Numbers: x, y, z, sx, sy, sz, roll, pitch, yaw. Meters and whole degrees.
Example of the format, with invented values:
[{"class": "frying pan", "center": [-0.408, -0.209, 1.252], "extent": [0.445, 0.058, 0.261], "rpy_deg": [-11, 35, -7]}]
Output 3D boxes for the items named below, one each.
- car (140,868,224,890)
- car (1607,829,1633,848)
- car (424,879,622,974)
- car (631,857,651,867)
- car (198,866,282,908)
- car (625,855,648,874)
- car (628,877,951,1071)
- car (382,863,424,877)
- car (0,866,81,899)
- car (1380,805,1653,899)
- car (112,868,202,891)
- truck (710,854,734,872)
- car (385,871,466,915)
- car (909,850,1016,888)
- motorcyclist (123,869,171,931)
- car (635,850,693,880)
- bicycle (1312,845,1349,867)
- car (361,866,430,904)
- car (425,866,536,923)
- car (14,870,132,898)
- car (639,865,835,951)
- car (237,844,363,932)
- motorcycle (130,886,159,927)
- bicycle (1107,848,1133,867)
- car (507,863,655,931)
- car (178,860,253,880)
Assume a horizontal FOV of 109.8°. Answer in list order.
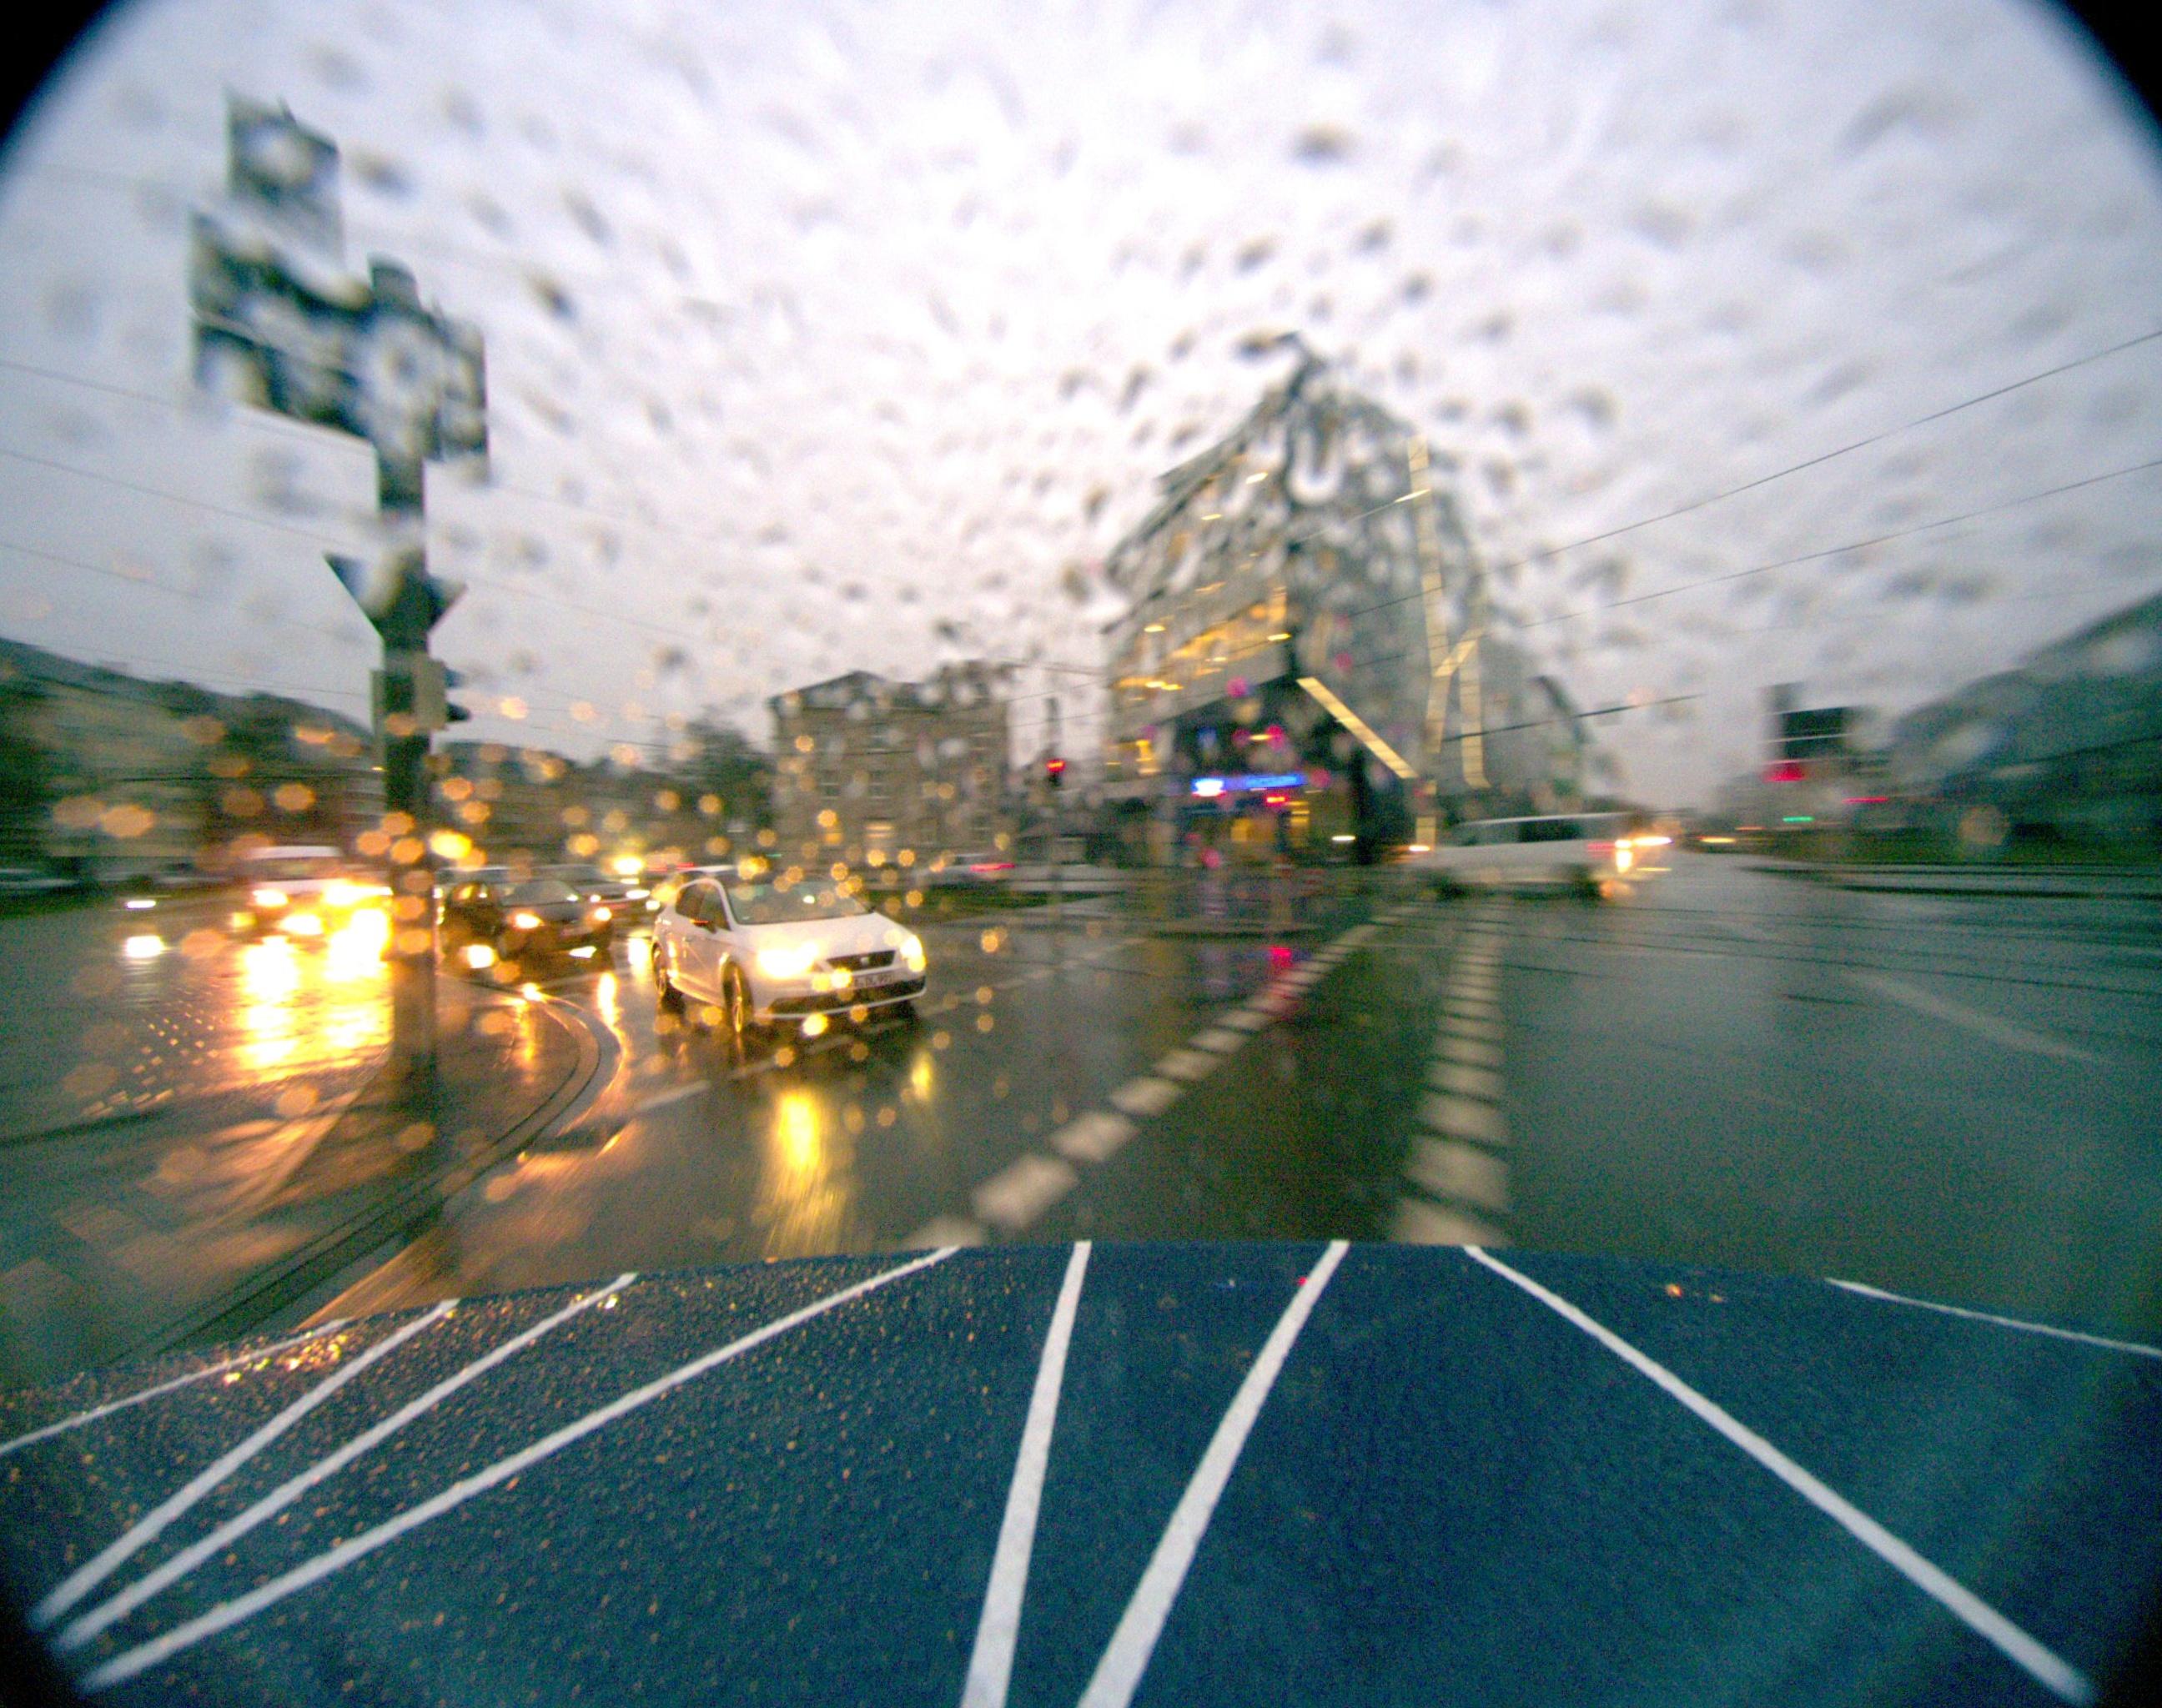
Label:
[{"class": "car", "center": [-63.197, 1.717, 53.505], "extent": [3.621, 1.362, 1.613], "rpy_deg": [-2, 1, -44]}, {"class": "car", "center": [50.319, -1.458, 70.905], "extent": [1.829, 1.652, 4.008], "rpy_deg": [-1, 1, 37]}, {"class": "car", "center": [-10.281, 1.223, 13.945], "extent": [3.811, 1.380, 1.727], "rpy_deg": [-1, 2, 35]}, {"class": "car", "center": [-67.177, 1.192, 116.021], "extent": [1.754, 1.362, 3.609], "rpy_deg": [-2, 1, -16]}, {"class": "car", "center": [-39.073, 1.472, 35.416], "extent": [1.881, 1.679, 4.159], "rpy_deg": [-3, 2, -38]}, {"class": "car", "center": [-40.469, 0.923, 69.151], "extent": [1.648, 1.379, 4.463], "rpy_deg": [-2, 4, -33]}, {"class": "car", "center": [-3.374, 1.039, 8.294], "extent": [1.792, 1.371, 4.210], "rpy_deg": [-4, 3, -43]}, {"class": "car", "center": [-71.704, 1.660, 80.396], "extent": [3.193, 1.405, 1.378], "rpy_deg": [-2, 1, -38]}, {"class": "car", "center": [-59.766, 1.609, 42.566], "extent": [1.776, 1.758, 4.354], "rpy_deg": [-1, 1, 42]}, {"class": "car", "center": [10.772, -0.041, 19.238], "extent": [1.957, 2.047, 5.645], "rpy_deg": [-2, 1, -42]}, {"class": "car", "center": [-62.145, 1.688, 51.187], "extent": [3.621, 1.362, 1.613], "rpy_deg": [-2, 1, -44]}, {"class": "truck", "center": [-42.575, 1.078, 90.136], "extent": [1.839, 2.032, 3.994], "rpy_deg": [-2, 1, -15]}, {"class": "car", "center": [-24.101, 1.377, 27.898], "extent": [3.337, 1.422, 1.694], "rpy_deg": [-1, 2, 40]}, {"class": "car", "center": [-5.018, 0.637, 32.078], "extent": [4.329, 1.477, 1.870], "rpy_deg": [-1, 1, 35]}, {"class": "motorcyclist", "center": [-29.504, 1.435, 24.019], "extent": [0.919, 1.871, 0.888], "rpy_deg": [-1, 1, 40]}, {"class": "car", "center": [-27.206, 0.700, 49.481], "extent": [4.948, 1.861, 1.909], "rpy_deg": [-1, 1, 44]}, {"class": "bicycle", "center": [12.349, 0.102, 37.670], "extent": [1.597, 1.064, 0.644], "rpy_deg": [-2, 1, 38]}, {"class": "car", "center": [-29.826, 1.307, 33.167], "extent": [1.881, 1.466, 4.159], "rpy_deg": [-3, 1, -38]}, {"class": "car", "center": [-18.957, 1.205, 23.934], "extent": [4.211, 1.590, 1.680], "rpy_deg": [-1, 1, 37]}, {"class": "car", "center": [-60.211, 1.747, 45.511], "extent": [3.972, 1.436, 1.696], "rpy_deg": [-2, 1, -43]}, {"class": "car", "center": [-7.117, 1.023, 15.634], "extent": [3.906, 1.455, 1.767], "rpy_deg": [-1, 3, 33]}, {"class": "car", "center": [-24.999, 0.973, 24.246], "extent": [5.653, 2.449, 2.247], "rpy_deg": [-1, 2, 40]}, {"class": "motorcycle", "center": [-29.644, 1.641, 24.068], "extent": [2.402, 1.176, 0.485], "rpy_deg": [-1, 1, 40]}, {"class": "bicycle", "center": [2.427, 0.217, 46.864], "extent": [1.498, 1.121, 0.528], "rpy_deg": [-2, 1, -16]}, {"class": "car", "center": [-13.272, 1.055, 20.075], "extent": [4.349, 1.561, 1.830], "rpy_deg": [-1, 1, 37]}, {"class": "car", "center": [-64.148, 1.160, 56.353], "extent": [1.613, 1.362, 3.621], "rpy_deg": [-1, 1, 40]}]
